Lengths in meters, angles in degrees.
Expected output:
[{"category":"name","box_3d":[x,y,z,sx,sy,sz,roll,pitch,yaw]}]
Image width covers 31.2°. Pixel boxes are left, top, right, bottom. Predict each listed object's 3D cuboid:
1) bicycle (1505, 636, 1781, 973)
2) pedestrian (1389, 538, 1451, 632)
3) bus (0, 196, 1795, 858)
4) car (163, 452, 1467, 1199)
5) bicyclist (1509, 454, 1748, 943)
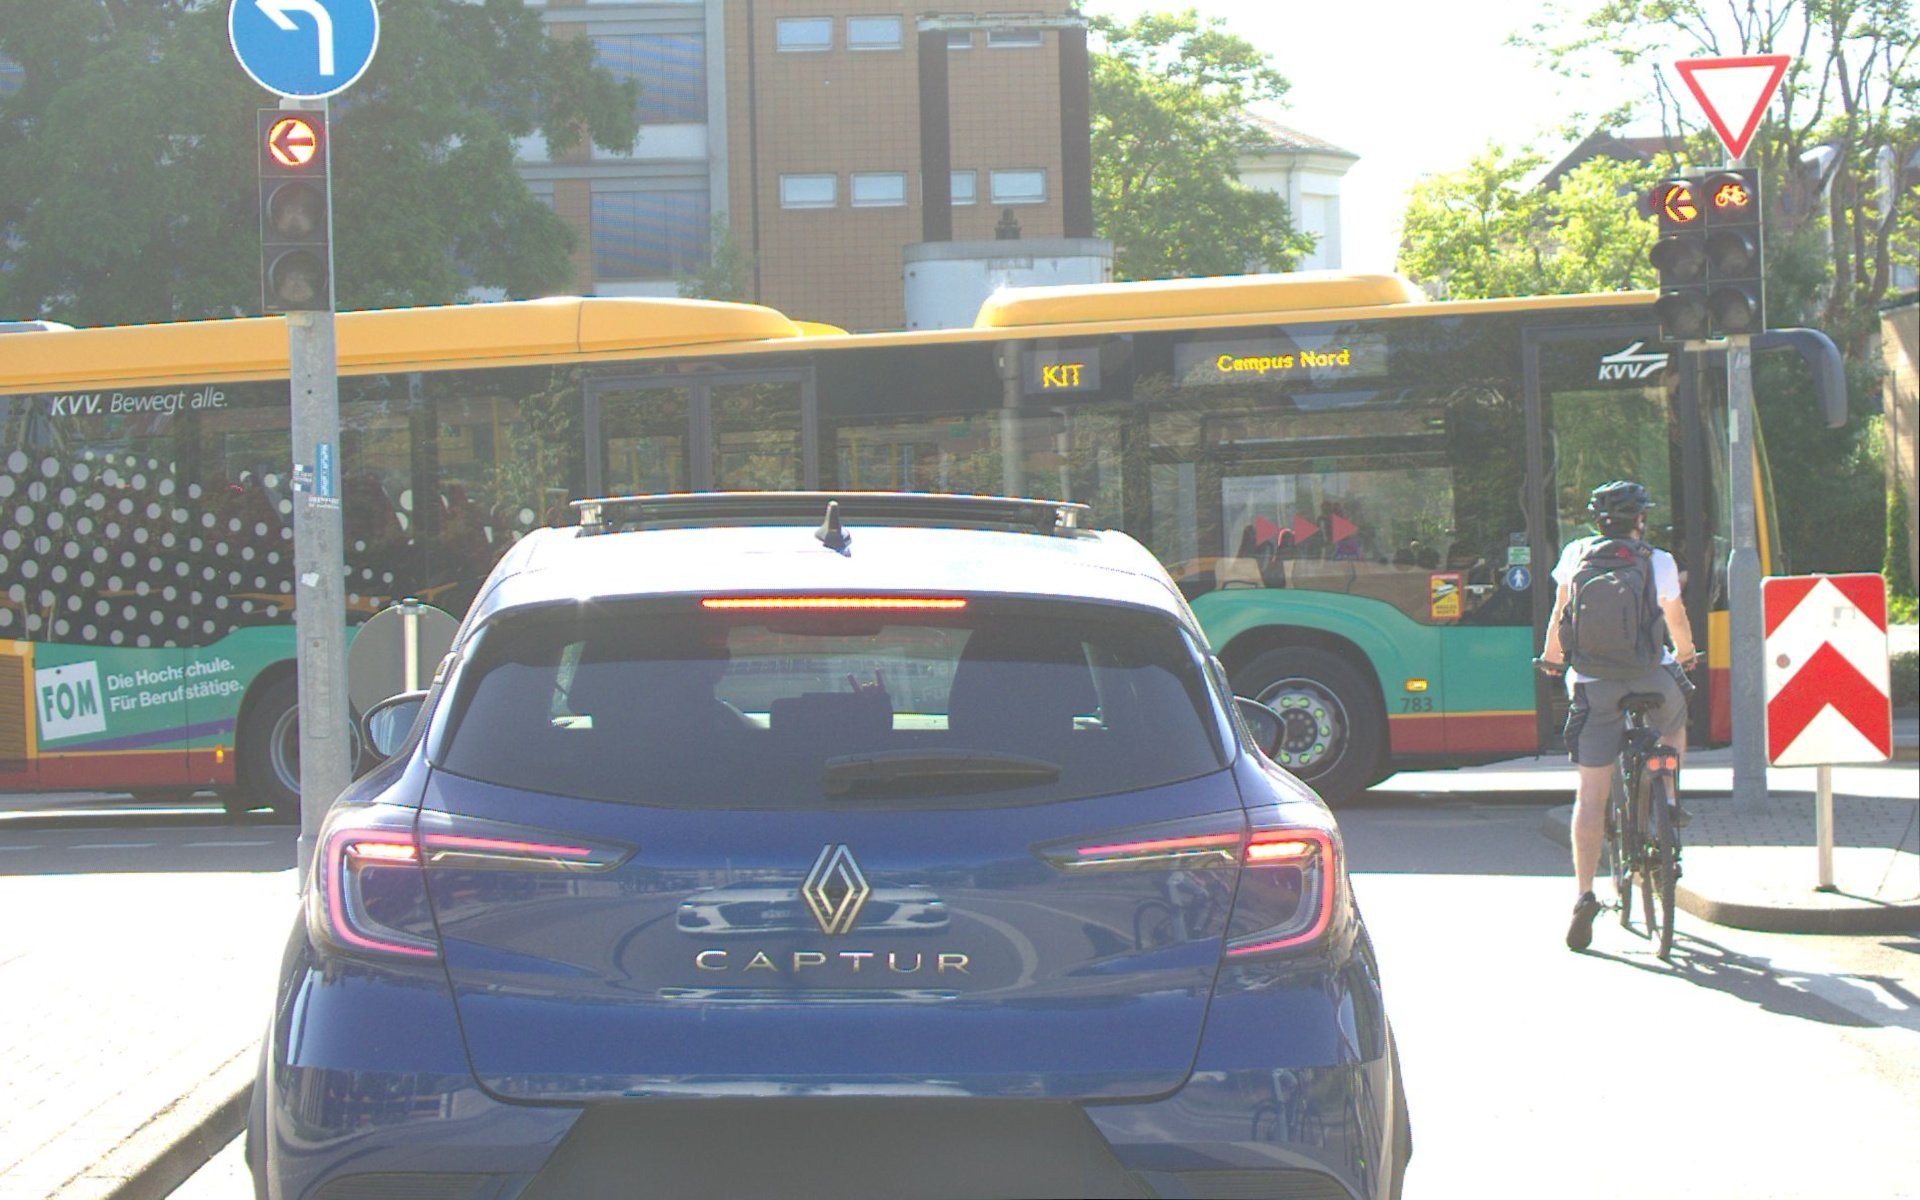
[{"category":"bicycle","box_3d":[2.544,0.728,12.992,0.615,1.134,1.826,0,1,-2]},{"category":"pedestrian","box_3d":[10.045,-0.338,75.104,1.156,2.007,1.164,-1,1,0]},{"category":"bus","box_3d":[-1.192,-0.328,21.603,12.430,3.558,3.248,-1,1,14]},{"category":"car","box_3d":[-0.251,0.591,6.680,1.794,1.649,3.853,0,1,-2]},{"category":"bicyclist","box_3d":[2.515,0.359,13.019,0.676,1.779,0.940,1,0,-2]}]
